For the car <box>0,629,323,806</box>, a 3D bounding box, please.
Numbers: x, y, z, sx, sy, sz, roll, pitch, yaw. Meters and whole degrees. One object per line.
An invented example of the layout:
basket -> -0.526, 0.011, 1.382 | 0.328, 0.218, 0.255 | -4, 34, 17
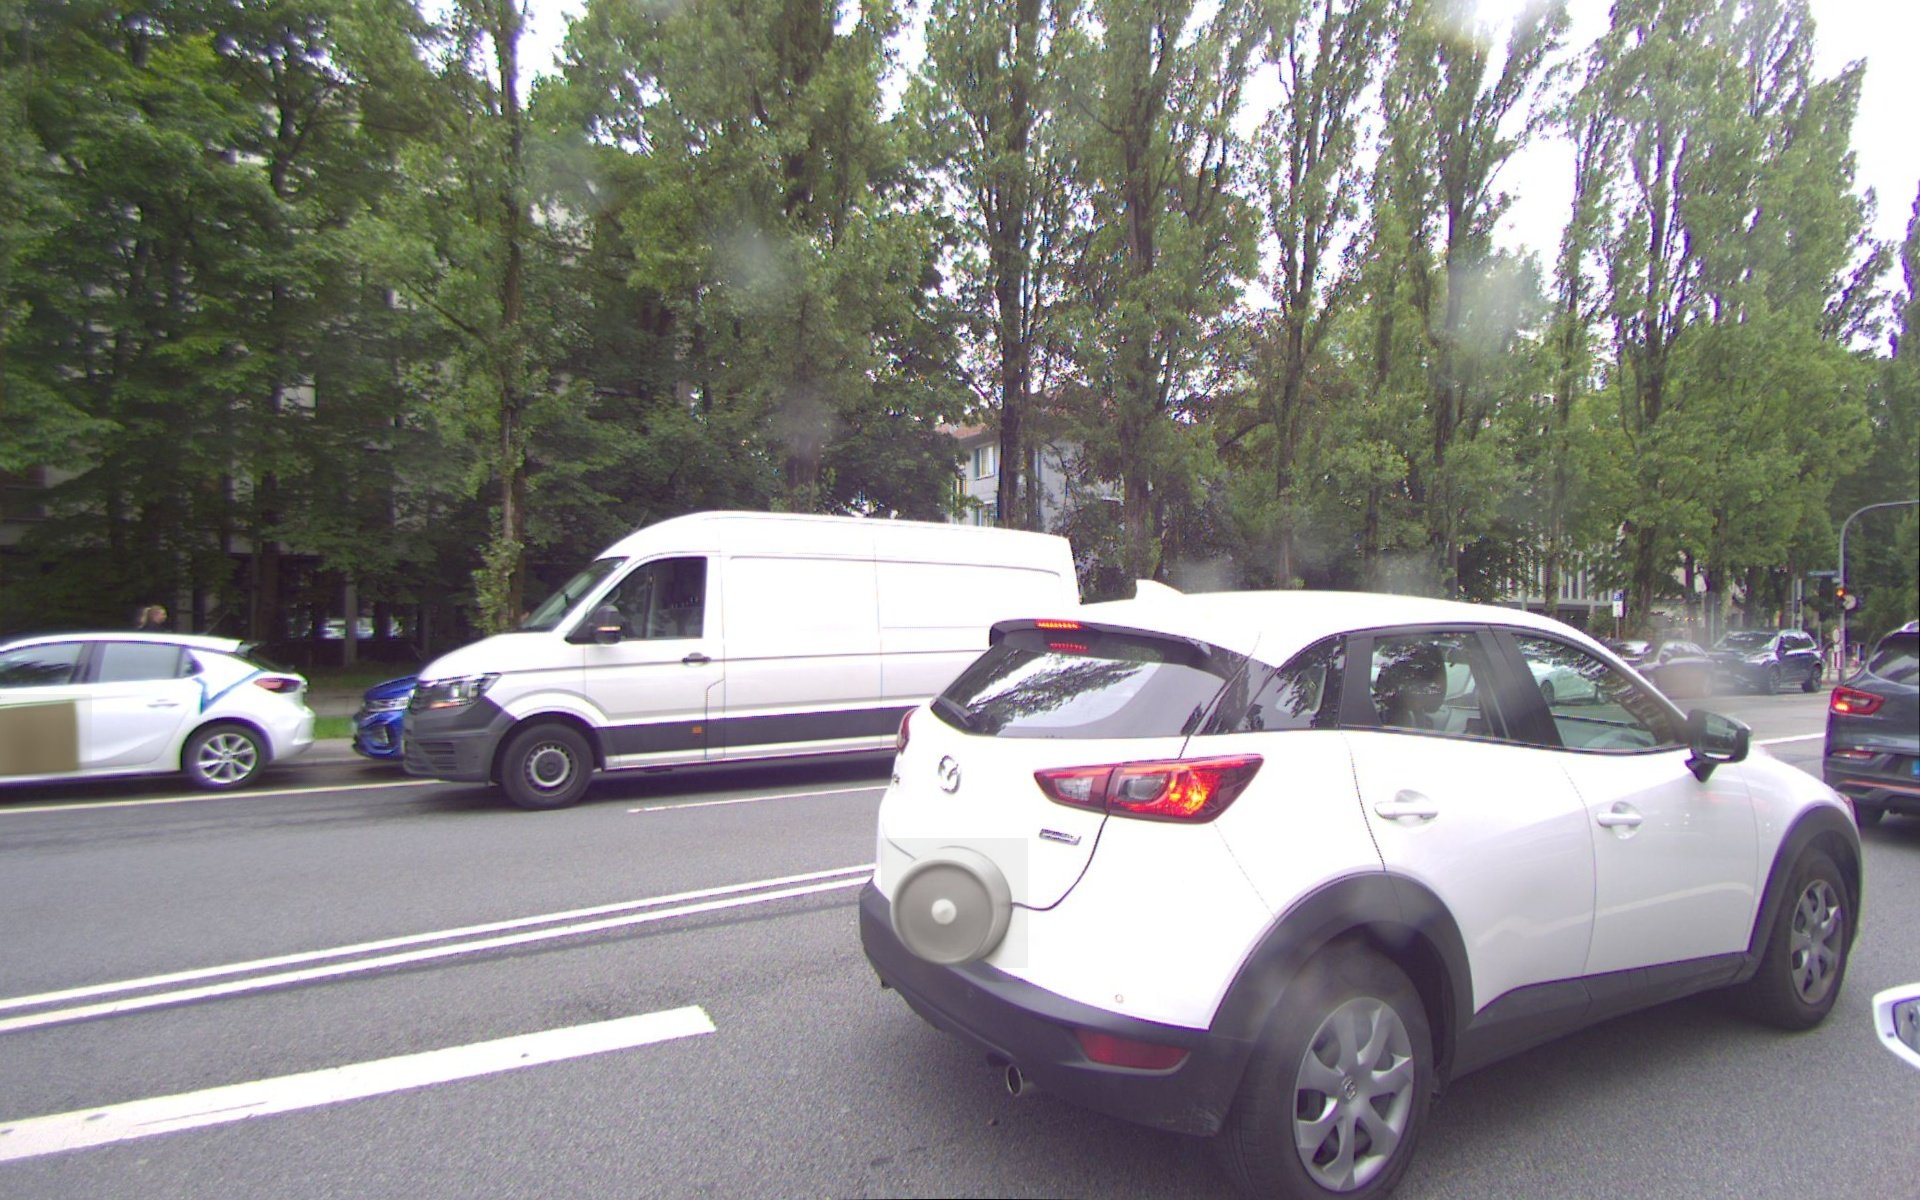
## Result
car -> -8.344, 1.033, 9.215 | 4.187, 1.471, 1.761 | 1, -4, -33

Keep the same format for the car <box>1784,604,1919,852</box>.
car -> 8.116, 0.881, 7.462 | 4.138, 1.607, 1.826 | 1, 0, -31

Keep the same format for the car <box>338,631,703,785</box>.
car -> -4.882, 1.115, 11.267 | 3.547, 1.470, 1.700 | 1, -4, -33

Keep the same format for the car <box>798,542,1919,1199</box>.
car -> 1.602, 0.723, 3.724 | 3.960, 1.545, 1.897 | 1, -2, -29

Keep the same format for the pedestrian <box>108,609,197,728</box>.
pedestrian -> -12.413, 1.029, 15.472 | 0.946, 1.764, 0.663 | 1, -1, -30

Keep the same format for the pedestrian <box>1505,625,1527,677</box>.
pedestrian -> 16.634, 1.522, 30.048 | 0.390, 1.548, 0.463 | 1, -1, -30

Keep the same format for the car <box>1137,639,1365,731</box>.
car -> 5.067, 1.420, 17.421 | 3.805, 1.444, 1.594 | 1, -4, -30

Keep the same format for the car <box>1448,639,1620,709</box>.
car -> 12.739, 1.593, 22.215 | 4.123, 1.407, 1.614 | 1, -4, -34

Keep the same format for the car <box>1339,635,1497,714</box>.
car -> 9.090, 1.450, 19.919 | 2.932, 1.466, 1.420 | 1, -4, -32

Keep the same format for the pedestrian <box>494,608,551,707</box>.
pedestrian -> -8.245, 1.070, 18.923 | 0.879, 1.795, 0.733 | 1, 0, -30

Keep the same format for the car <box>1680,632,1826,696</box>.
car -> 22.271, 1.757, 28.172 | 4.646, 1.675, 1.838 | 1, -4, -34

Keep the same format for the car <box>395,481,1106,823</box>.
car -> -1.812, 0.493, 10.134 | 6.683, 2.515, 2.216 | 1, -3, -32

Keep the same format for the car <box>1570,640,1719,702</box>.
car -> 17.097, 1.728, 25.043 | 4.123, 1.407, 1.614 | 1, -4, -34
